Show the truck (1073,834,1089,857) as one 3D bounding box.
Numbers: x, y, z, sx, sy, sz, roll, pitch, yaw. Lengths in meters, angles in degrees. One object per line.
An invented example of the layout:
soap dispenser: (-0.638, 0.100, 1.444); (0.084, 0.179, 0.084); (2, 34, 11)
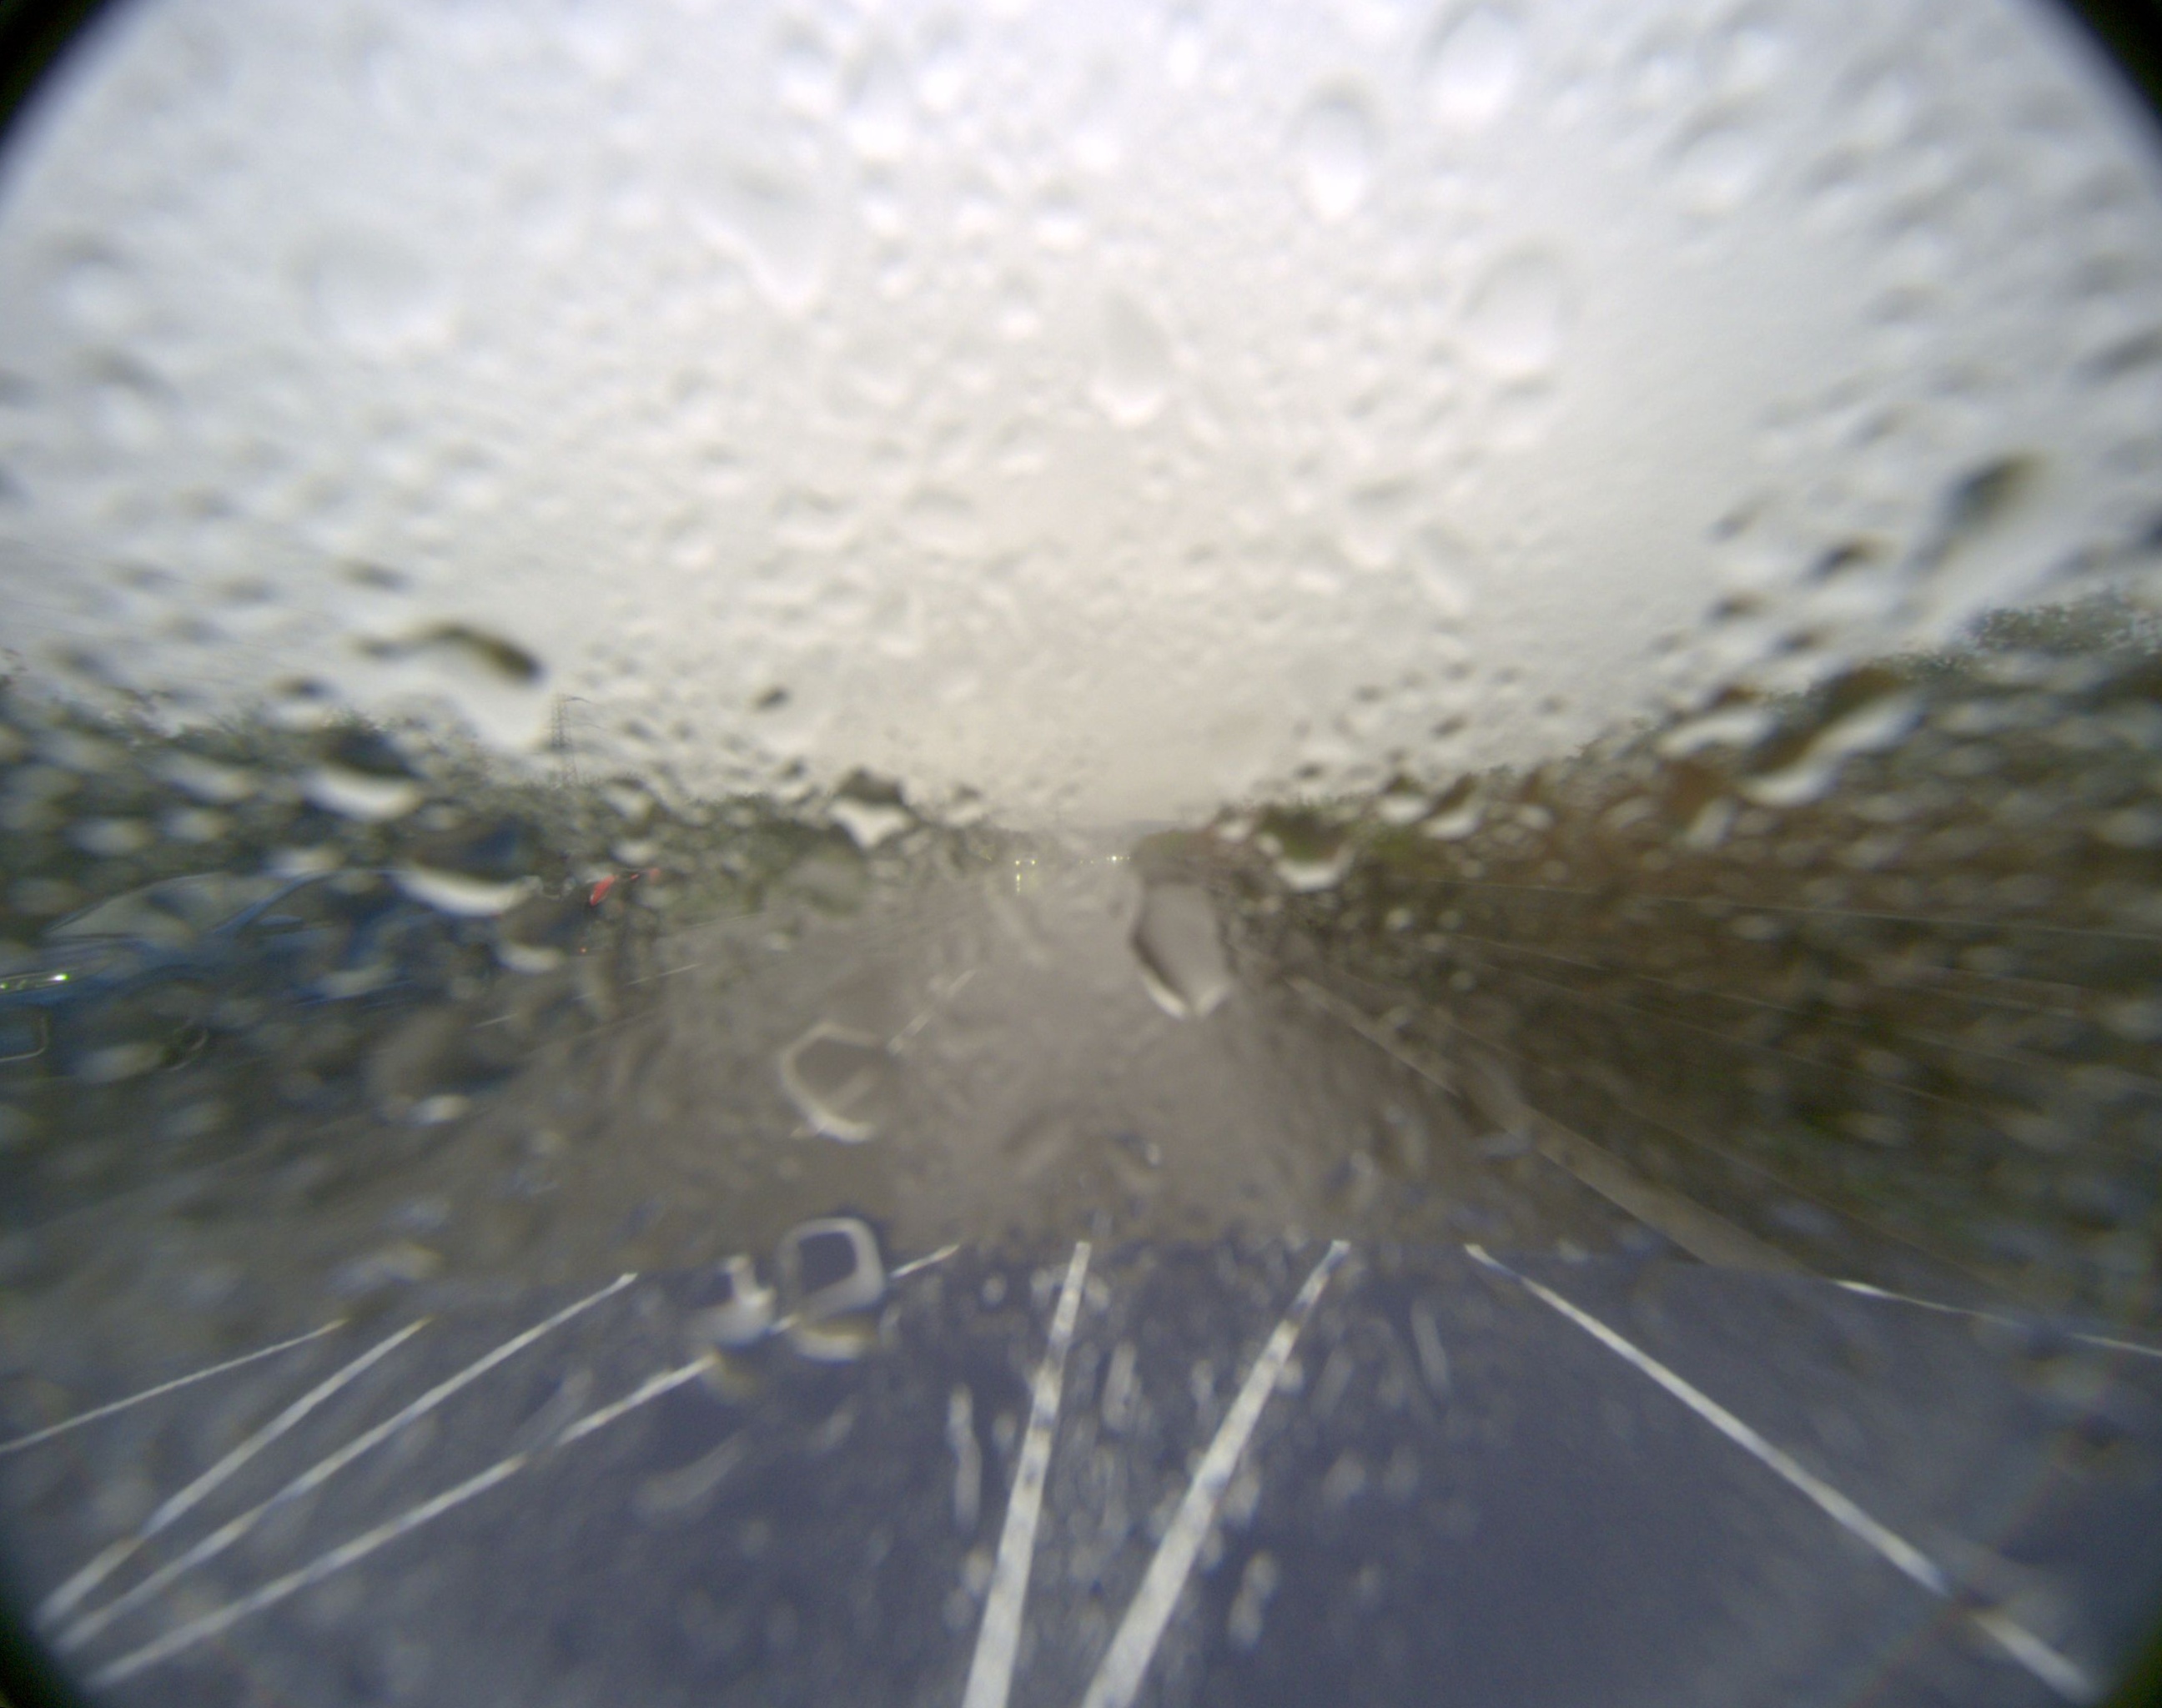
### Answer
truck: (0.109, -1.781, 163.887); (3.136, 4.641, 11.404); (-2, 0, 1)

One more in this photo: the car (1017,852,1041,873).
car: (-5.337, 0.876, 78.264); (1.998, 2.002, 4.001); (-3, 0, 2)

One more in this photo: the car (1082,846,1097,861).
car: (1.269, -0.076, 112.439); (1.998, 2.002, 4.001); (-2, 0, 4)

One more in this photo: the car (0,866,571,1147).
car: (-7.559, 1.018, 7.007); (1.998, 1.610, 4.993); (-2, 1, 5)

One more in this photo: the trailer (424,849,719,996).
trailer: (-7.217, 0.868, 11.202); (1.983, 1.775, 3.189); (-2, 1, 5)
